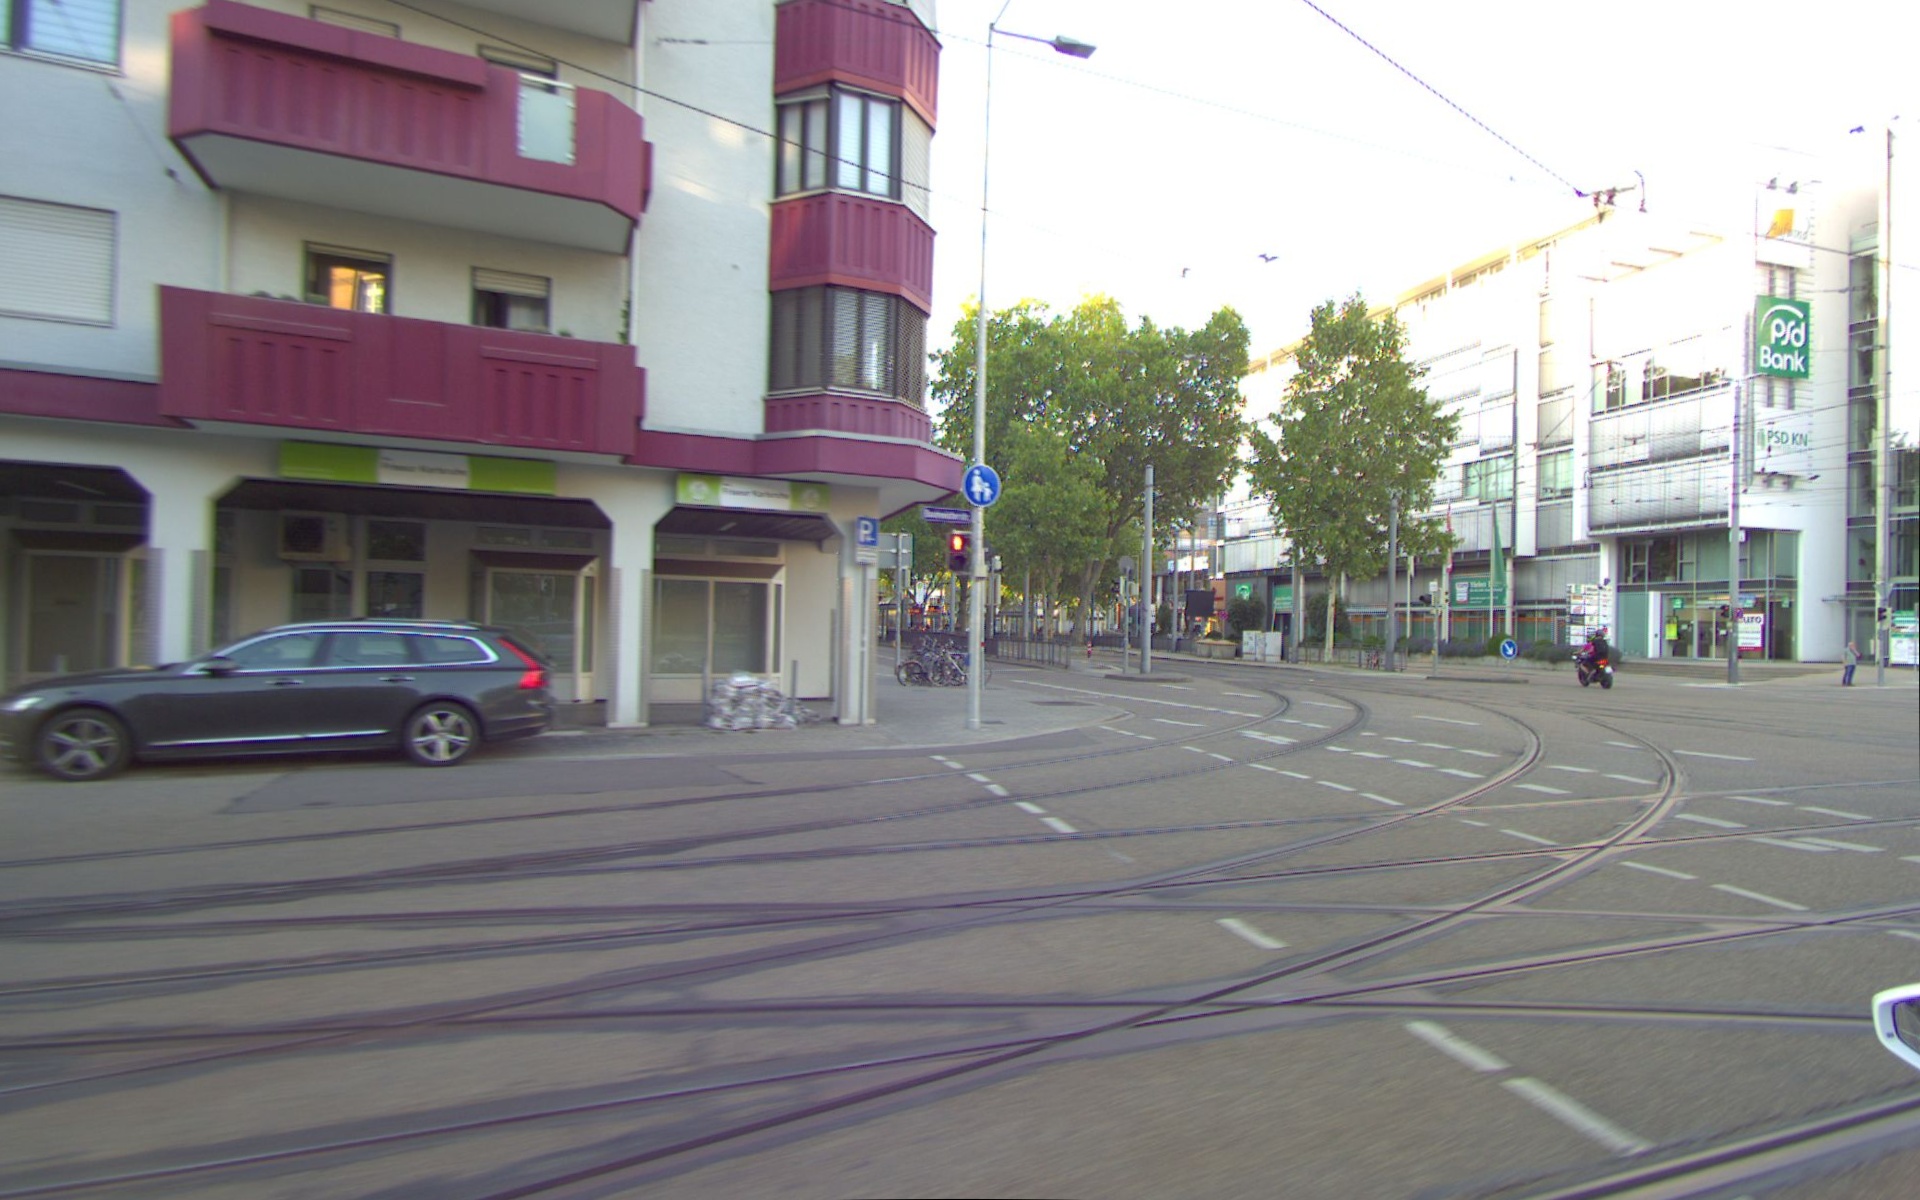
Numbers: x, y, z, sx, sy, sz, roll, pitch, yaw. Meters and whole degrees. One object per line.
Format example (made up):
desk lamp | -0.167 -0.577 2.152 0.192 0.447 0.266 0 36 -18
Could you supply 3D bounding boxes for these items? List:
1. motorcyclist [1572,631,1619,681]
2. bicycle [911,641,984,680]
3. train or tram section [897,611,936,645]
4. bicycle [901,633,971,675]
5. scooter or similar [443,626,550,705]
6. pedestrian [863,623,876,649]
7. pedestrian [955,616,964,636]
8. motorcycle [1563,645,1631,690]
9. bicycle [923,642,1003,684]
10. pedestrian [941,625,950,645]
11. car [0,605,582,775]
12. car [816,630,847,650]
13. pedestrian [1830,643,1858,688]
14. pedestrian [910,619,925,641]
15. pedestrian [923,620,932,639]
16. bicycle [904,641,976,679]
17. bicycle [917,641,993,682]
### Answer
motorcyclist | 19.774 1.727 31.265 0.814 1.493 1.208 1 -1 8
bicycle | -0.325 1.557 25.877 1.809 0.970 0.595 2 -1 -12
train or tram section | -4.625 2.891 104.208 2.998 3.212 13.478 2 -2 -6
bicycle | -0.646 1.461 27.046 1.809 1.075 0.498 2 -1 -12
scooter or similar | -7.209 1.022 15.675 1.458 1.181 0.548 2 -1 -23
pedestrian | -6.903 2.751 76.577 0.767 1.951 0.731 1 -1 -16
pedestrian | -0.038 2.448 94.251 0.725 1.924 0.639 2 -1 -13
motorcycle | 19.764 2.070 31.240 0.814 1.256 2.493 1 -1 8
bicycle | 0.066 1.517 24.224 1.809 0.970 0.673 2 -1 -12
pedestrian | -1.397 3.333 96.779 0.725 1.924 0.639 2 -1 -13
car | -6.672 0.872 10.497 5.014 1.476 1.847 2 -1 -23
car | -10.216 3.144 79.679 1.758 1.476 3.984 2 -2 -18
pedestrian | 35.101 2.598 39.875 0.647 1.734 0.547 1 -1 -6
pedestrian | -2.575 1.825 60.798 0.764 1.310 0.733 1 -1 4
pedestrian | -3.279 2.962 101.294 0.725 1.924 0.639 2 -1 -13
bicycle | -0.531 1.583 26.536 1.809 0.970 0.498 2 -1 -12
bicycle | -0.129 1.524 25.100 1.809 0.970 0.673 2 -1 -12
